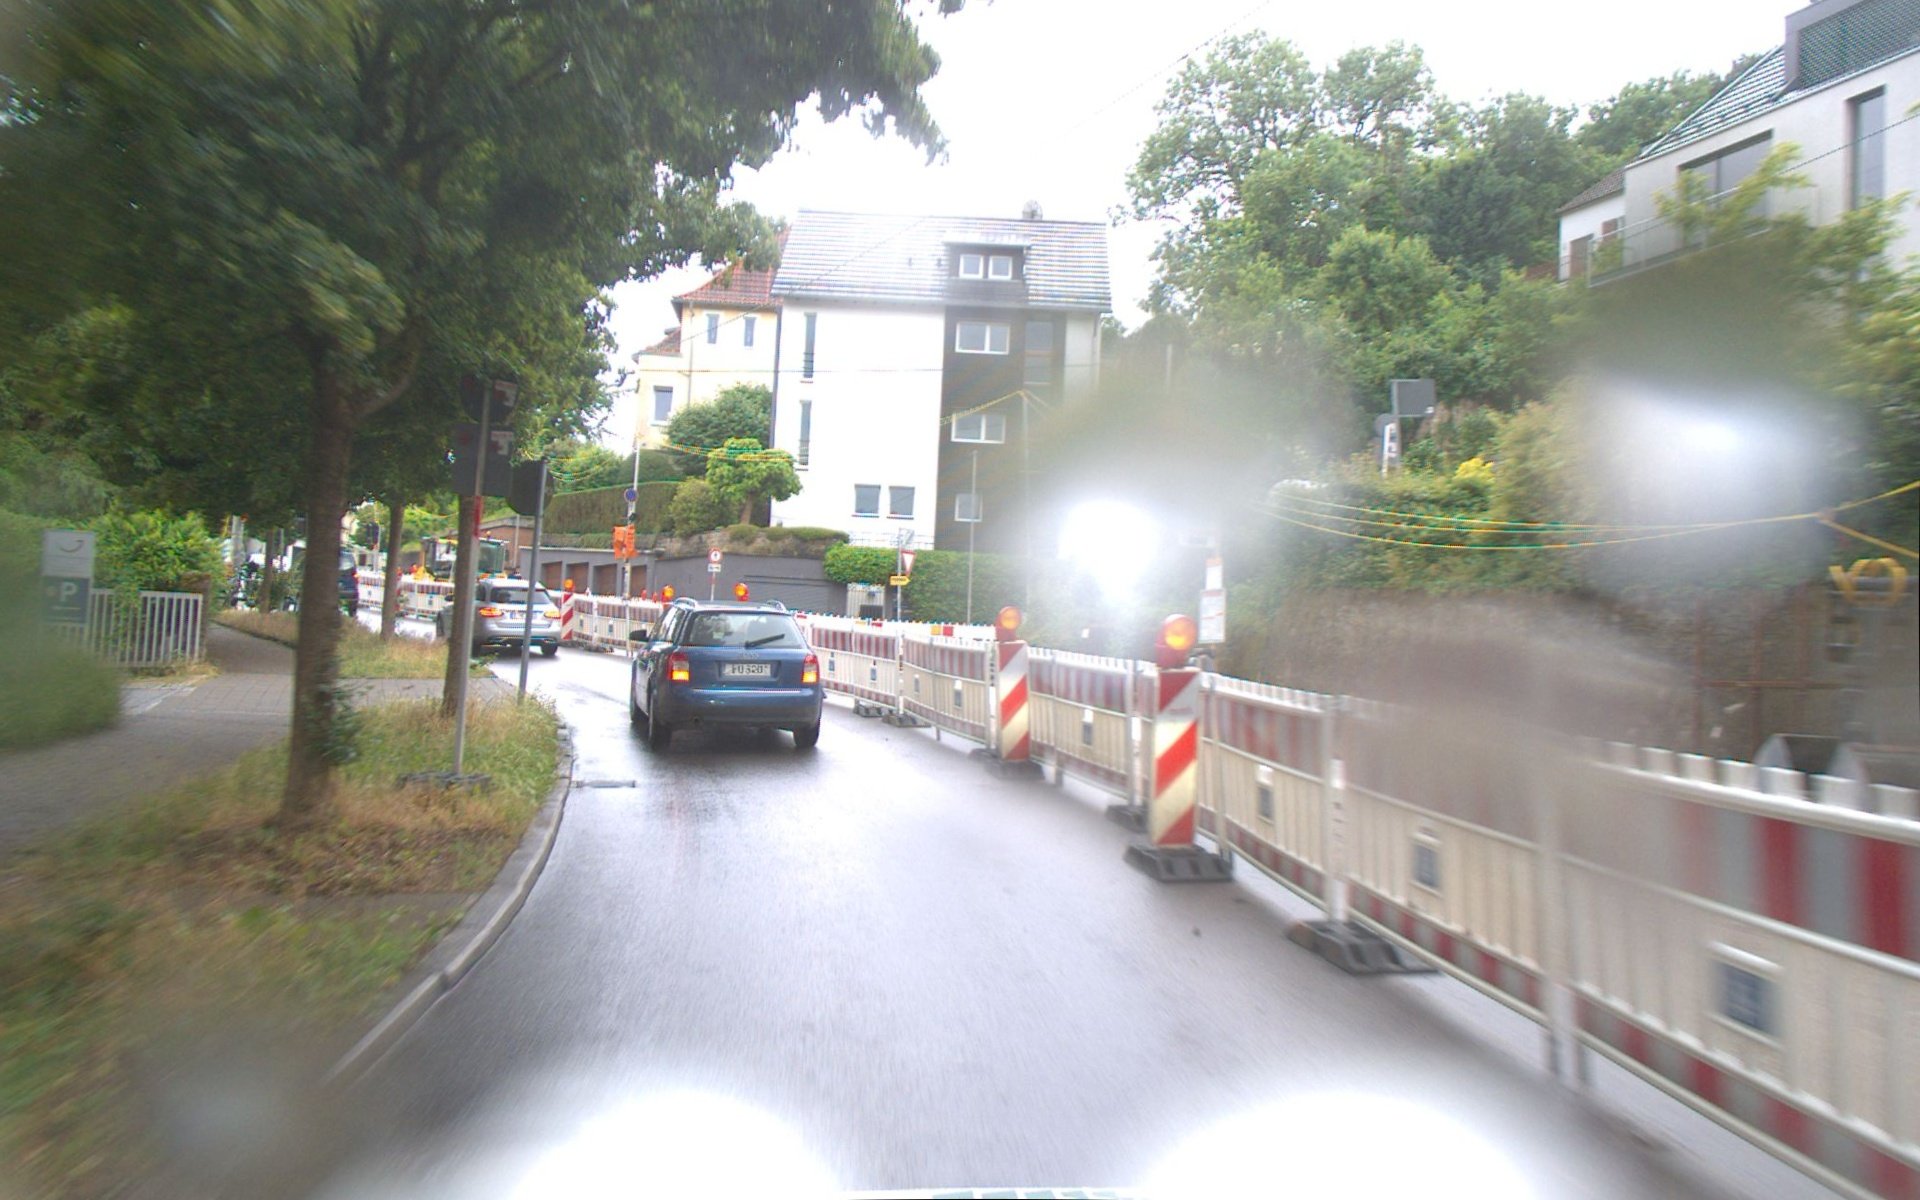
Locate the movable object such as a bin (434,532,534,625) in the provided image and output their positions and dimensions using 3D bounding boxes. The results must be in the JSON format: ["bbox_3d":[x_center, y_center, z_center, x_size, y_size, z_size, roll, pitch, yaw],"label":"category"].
[{"bbox_3d":[-14.722,-0.708,51.025,1.973,2.659,3.959,2,2,-31],"label":"movable object such as a bin"}]

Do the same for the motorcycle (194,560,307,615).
[{"bbox_3d":[-18.574,-0.314,43.324,2.572,1.255,0.880,4,-2,-32],"label":"motorcycle"}]

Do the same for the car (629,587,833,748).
[{"bbox_3d":[-2.556,0.640,17.667,1.755,1.467,3.950,2,0,-13],"label":"car"}]

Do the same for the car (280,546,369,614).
[{"bbox_3d":[-18.751,-0.538,48.714,1.971,1.825,3.963,1,-2,-28],"label":"car"}]

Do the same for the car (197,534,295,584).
[{"bbox_3d":[-25.048,-1.414,57.987,4.005,1.512,1.715,-2,-3,44],"label":"car"}]

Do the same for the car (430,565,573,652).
[{"bbox_3d":[-9.423,0.183,33.793,1.904,1.646,4.280,2,-1,-28],"label":"car"}]
